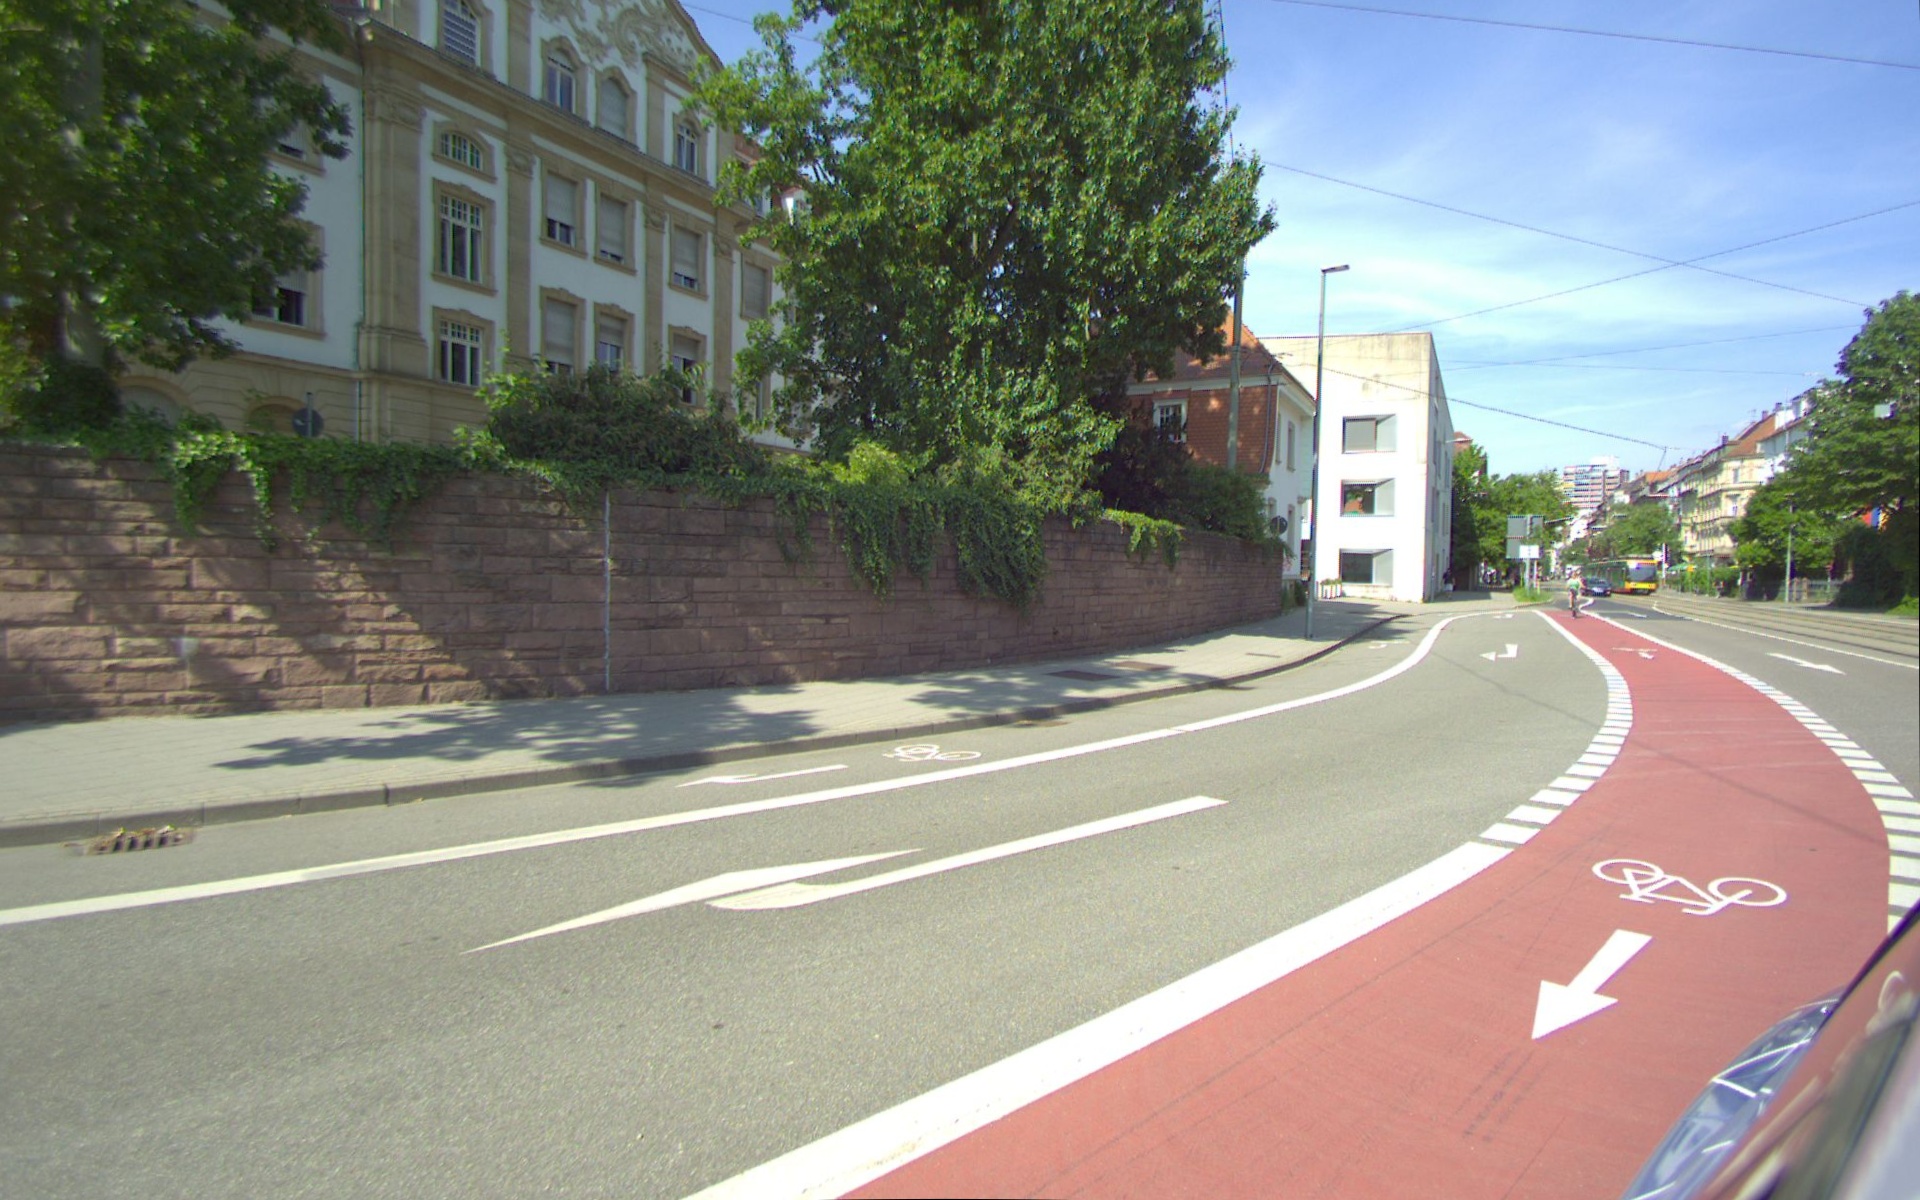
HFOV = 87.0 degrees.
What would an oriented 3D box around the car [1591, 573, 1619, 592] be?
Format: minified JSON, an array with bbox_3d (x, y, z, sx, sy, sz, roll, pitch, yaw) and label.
[{"bbox_3d":[50.472,-1.401,79.202,1.790,1.393,4.228,3,3,32],"label":"car"}]

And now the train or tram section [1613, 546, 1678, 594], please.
[{"bbox_3d":[61.046,-2.689,90.441,3.187,3.908,14.445,2,2,28],"label":"train or tram section"}]

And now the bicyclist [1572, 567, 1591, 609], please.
[{"bbox_3d":[23.204,-0.445,37.817,0.584,1.567,0.921,-1,0,31],"label":"bicyclist"}]

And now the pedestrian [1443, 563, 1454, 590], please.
[{"bbox_3d":[28.448,-1.371,58.951,0.544,1.587,0.922,2,2,28],"label":"pedestrian"}]

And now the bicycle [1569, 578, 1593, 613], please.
[{"bbox_3d":[23.127,-0.192,37.722,0.680,1.237,2.163,2,2,30],"label":"bicycle"}]

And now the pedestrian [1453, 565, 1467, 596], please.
[{"bbox_3d":[29.002,-1.133,58.687,0.644,1.728,0.705,2,2,28],"label":"pedestrian"}]
